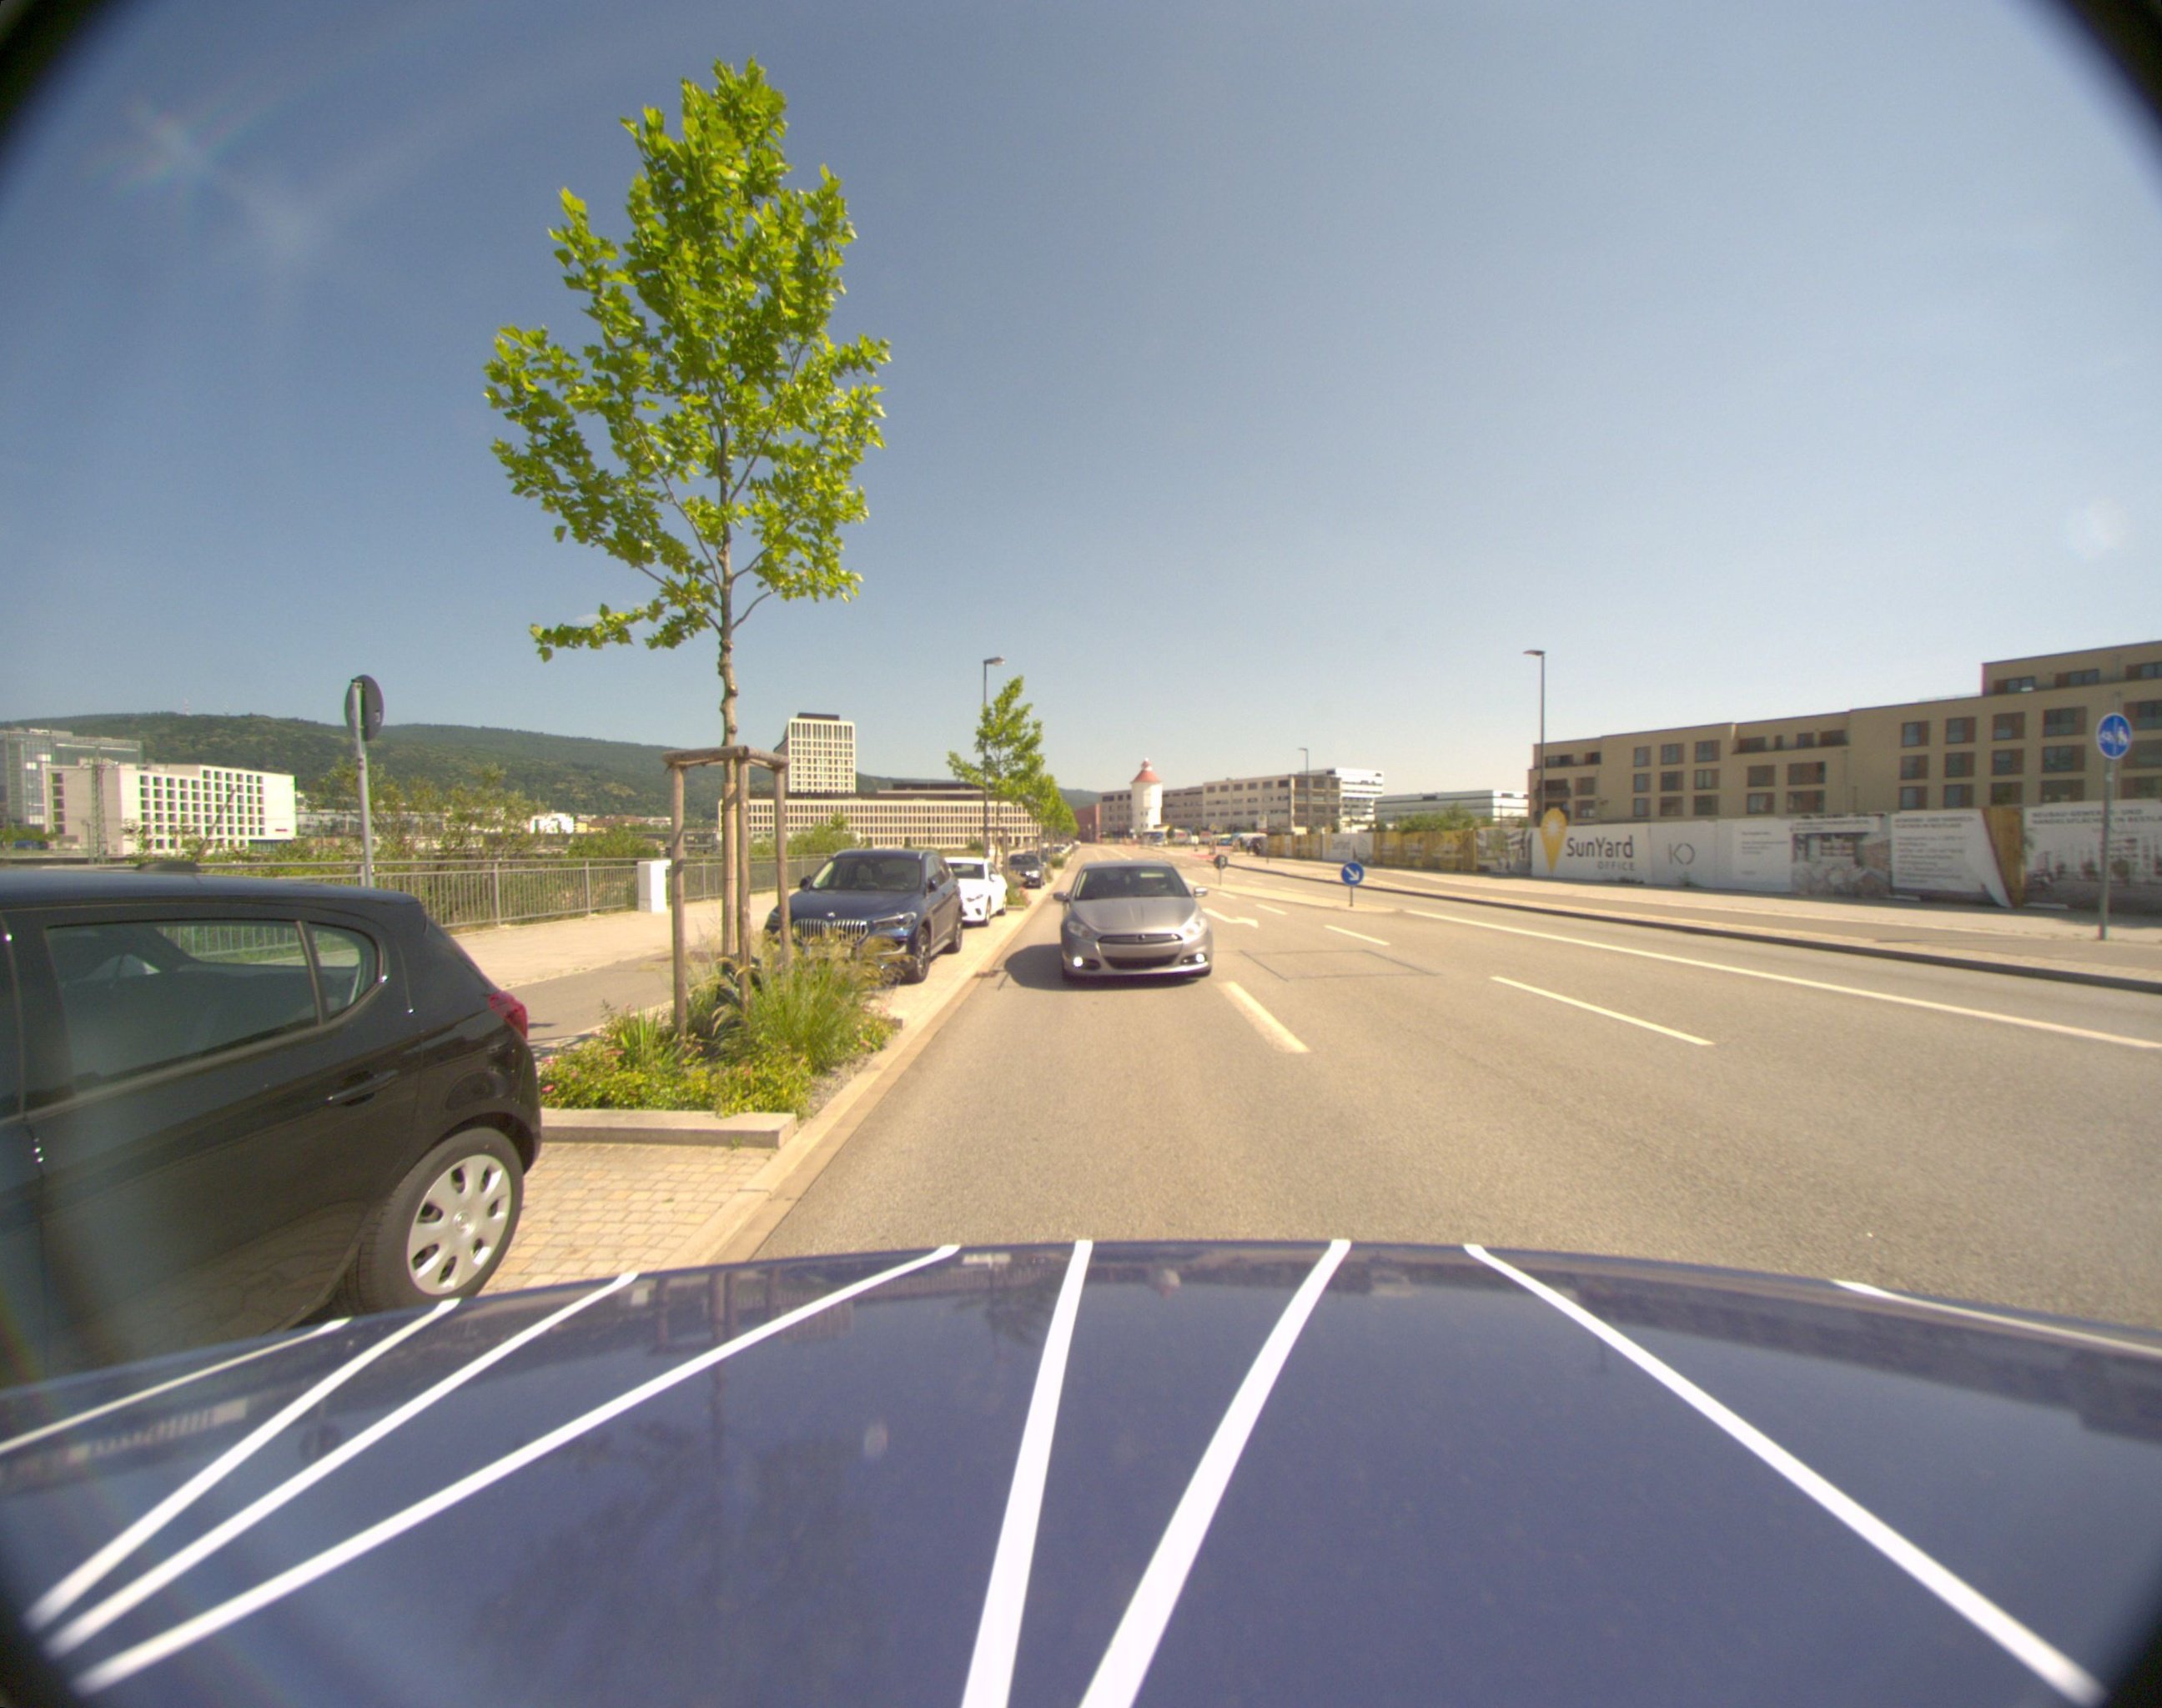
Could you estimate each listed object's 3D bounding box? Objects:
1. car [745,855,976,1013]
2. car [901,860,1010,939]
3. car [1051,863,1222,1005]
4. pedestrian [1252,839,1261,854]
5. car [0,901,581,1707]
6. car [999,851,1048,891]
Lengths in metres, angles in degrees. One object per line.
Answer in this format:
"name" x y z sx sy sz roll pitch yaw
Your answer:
"car" -2.676 0.870 10.335 1.769 1.598 4.238 -2 1 1
"car" -2.685 0.923 17.135 1.664 1.447 4.000 -2 1 1
"car" 0.643 0.885 10.215 1.784 1.372 4.136 -2 1 1
"pedestrian" 19.022 -0.779 82.189 0.705 1.577 0.617 -3 1 -35
"car" -2.856 0.920 1.010 1.664 1.418 4.000 0 1 1
"car" -2.417 0.695 32.731 1.664 1.529 4.000 -2 1 1
